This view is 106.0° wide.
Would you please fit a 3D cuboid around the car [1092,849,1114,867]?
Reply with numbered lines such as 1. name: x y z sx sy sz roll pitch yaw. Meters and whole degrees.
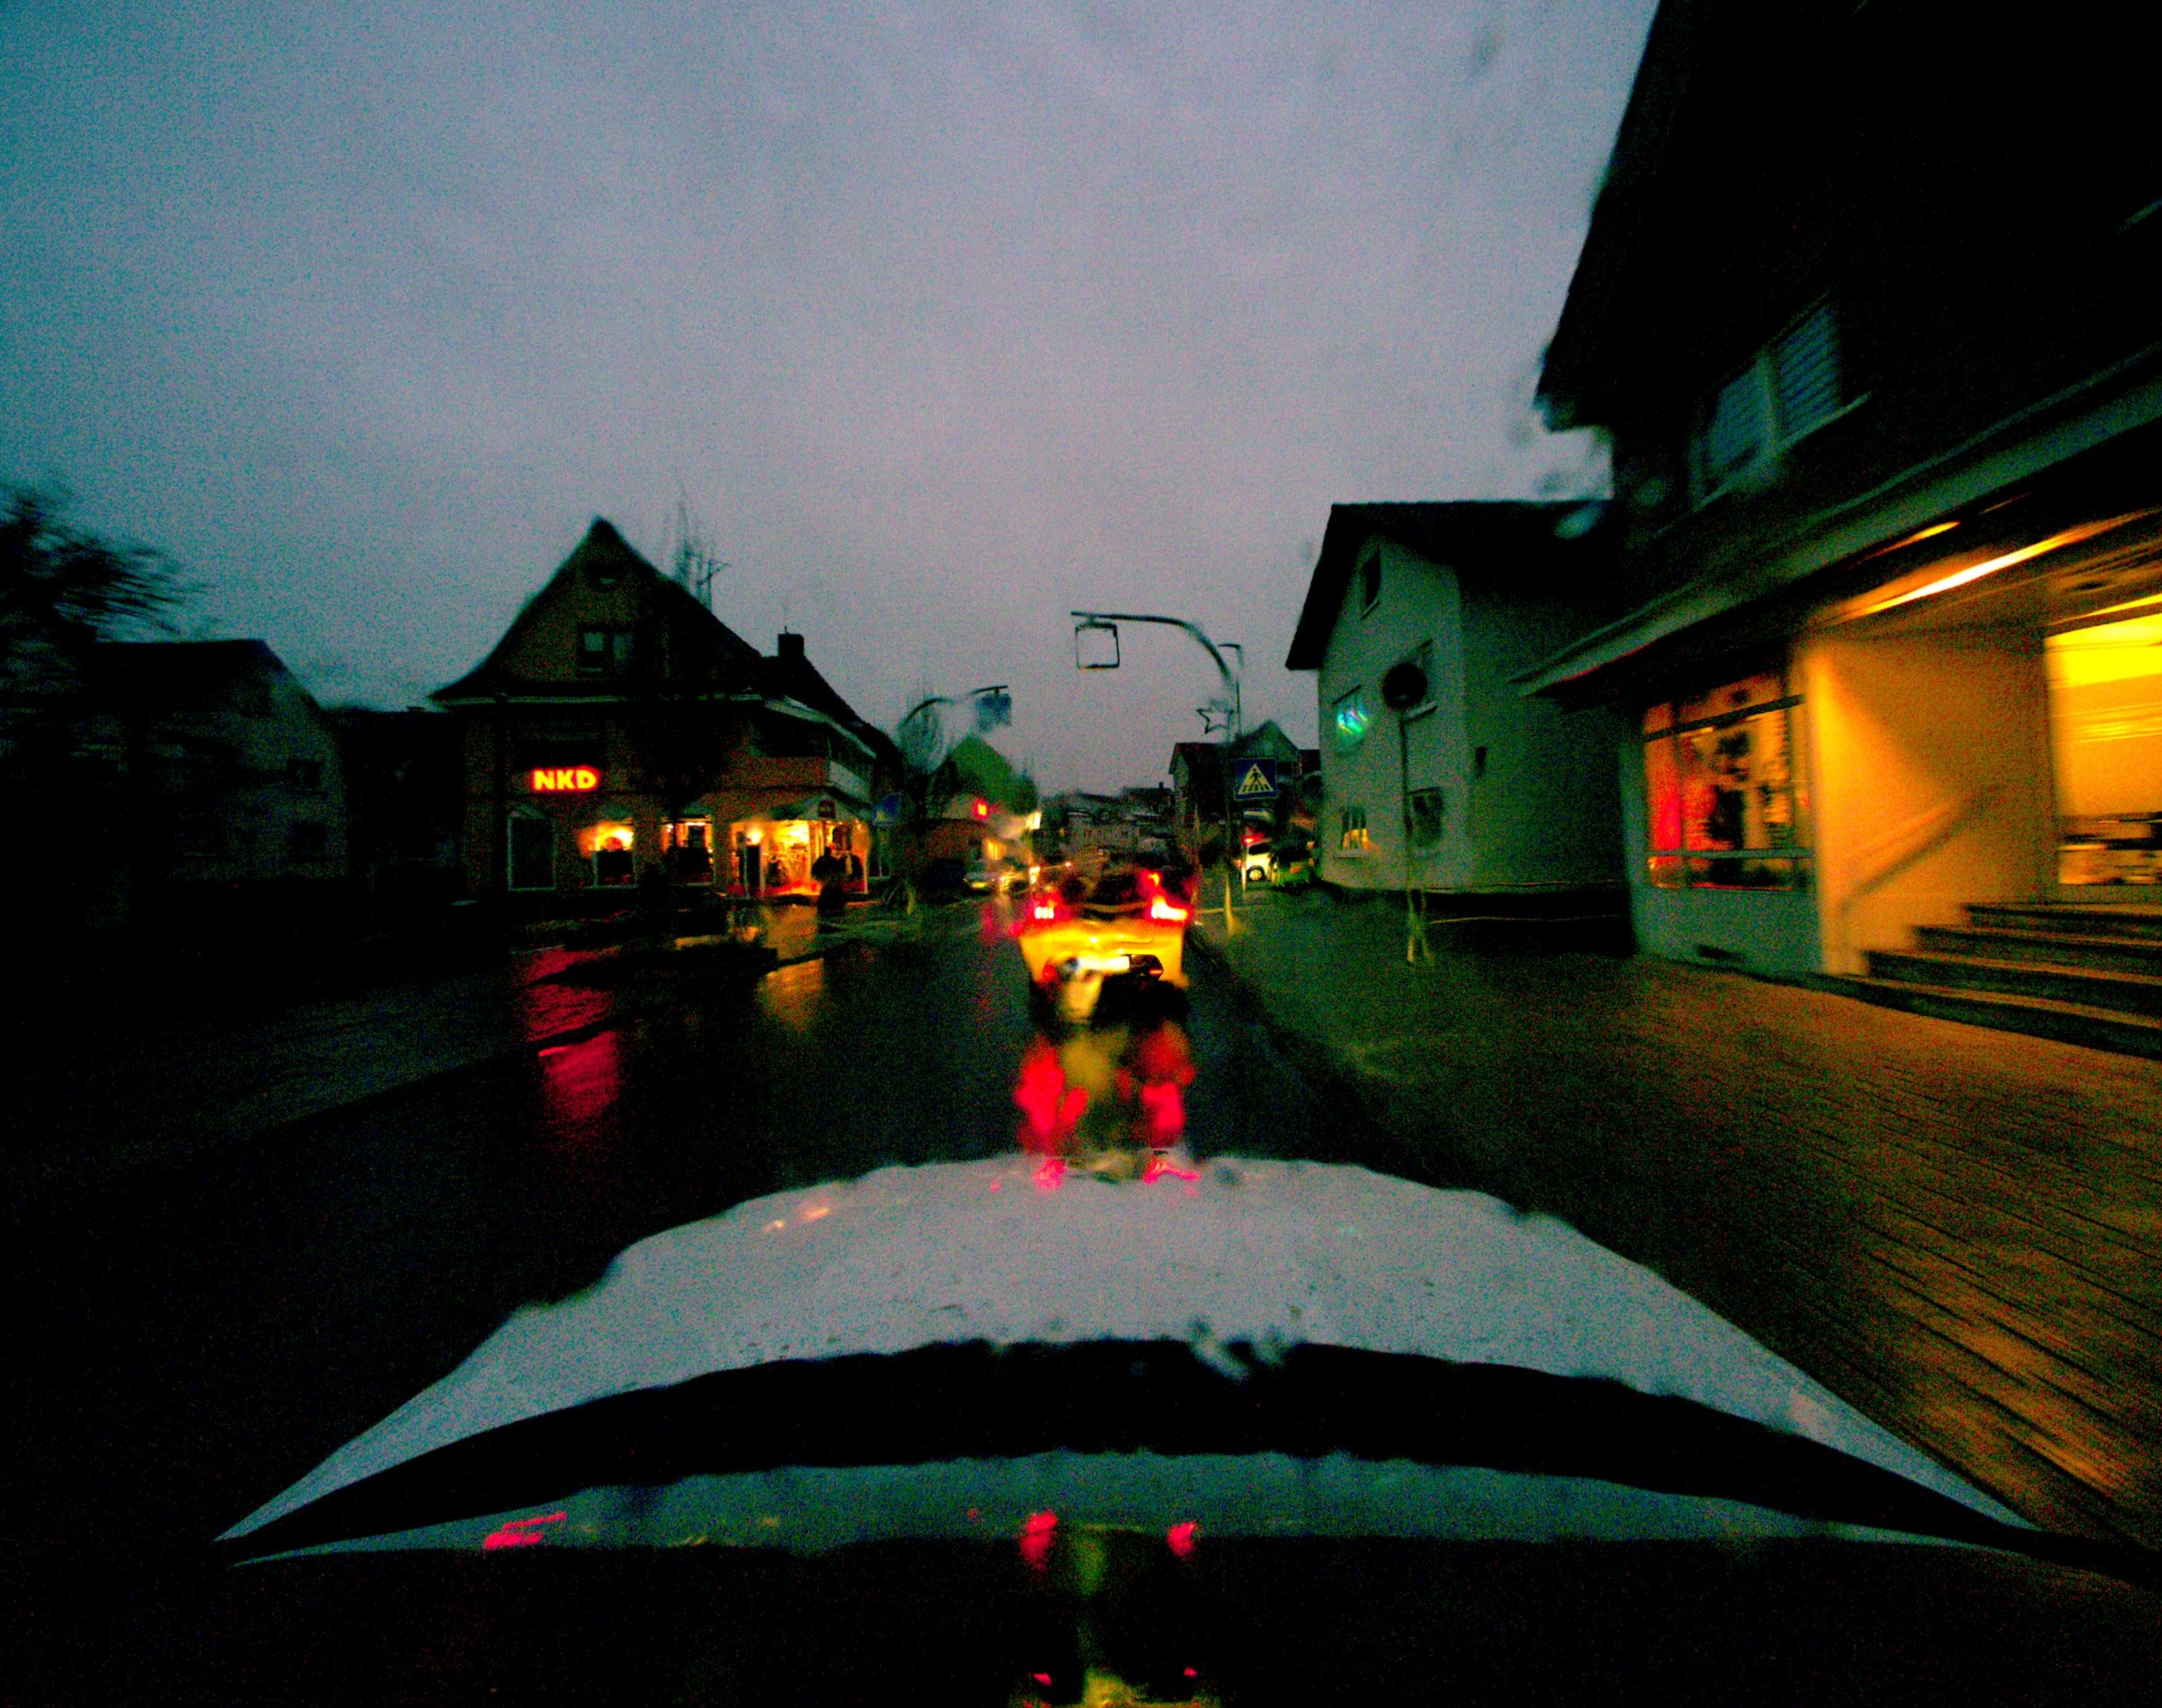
1. car: 2.036 0.366 78.078 1.945 1.547 4.415 1 2 -1

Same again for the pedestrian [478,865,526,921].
1. pedestrian: -13.475 0.893 18.958 0.815 1.245 0.691 0 0 35

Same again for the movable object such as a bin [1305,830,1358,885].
1. movable object such as a bin: 8.095 0.120 26.358 1.281 1.644 1.185 -4 0 1

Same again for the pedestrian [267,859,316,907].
1. pedestrian: -28.505 1.035 29.414 0.916 1.715 0.838 1 0 -9

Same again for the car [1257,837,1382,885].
1. car: 8.369 0.250 28.886 3.966 1.486 1.916 -3 -1 6

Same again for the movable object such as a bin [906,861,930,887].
1. movable object such as a bin: -8.710 1.057 43.463 1.149 1.354 0.850 -1 0 -7

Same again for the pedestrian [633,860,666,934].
1. pedestrian: -12.106 1.182 22.845 0.739 2.013 0.817 0 0 -35

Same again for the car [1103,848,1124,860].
1. car: 4.995 0.000 126.029 1.996 1.765 4.331 -4 1 -13

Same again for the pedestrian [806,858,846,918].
1. pedestrian: -7.156 0.938 22.926 0.824 1.658 1.096 0 0 -4

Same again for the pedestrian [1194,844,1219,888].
1. pedestrian: 5.465 0.498 35.594 0.963 1.889 1.006 -1 0 1

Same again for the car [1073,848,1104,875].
1. car: 0.567 0.483 56.214 1.986 1.705 4.970 1 1 2

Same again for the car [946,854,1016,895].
1. car: -4.109 0.807 34.168 1.984 1.558 4.626 -1 0 4

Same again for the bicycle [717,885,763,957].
1. bicycle: -5.993 1.143 14.355 0.324 1.061 1.737 -7 2 -12

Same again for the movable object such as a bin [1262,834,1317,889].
1. movable object such as a bin: 6.744 0.233 26.464 1.388 1.644 1.262 -4 0 1

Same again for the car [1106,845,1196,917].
1. car: 1.655 0.623 20.628 1.986 1.625 4.000 -1 0 1

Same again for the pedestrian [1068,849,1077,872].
1. pedestrian: -0.597 0.482 58.105 0.572 1.585 0.530 -2 1 3

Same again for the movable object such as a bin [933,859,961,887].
1. movable object such as a bin: -7.175 1.016 43.579 1.338 1.354 0.887 -5 -1 -6

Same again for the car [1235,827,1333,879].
1. car: 9.161 -0.056 36.923 4.063 2.049 2.007 -4 0 12

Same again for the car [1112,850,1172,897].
1. car: 2.186 0.680 30.356 1.987 1.588 4.000 -1 0 1

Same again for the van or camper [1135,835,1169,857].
1. van or camper: 10.978 -1.165 126.839 2.659 3.047 6.691 -5 1 -19

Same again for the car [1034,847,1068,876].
1. car: -1.936 0.465 54.570 2.079 1.792 5.023 -1 0 0

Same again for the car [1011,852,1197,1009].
1. car: 0.319 0.757 9.987 1.807 1.533 4.003 -1 0 3

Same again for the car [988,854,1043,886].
1. car: -3.257 0.765 41.425 1.984 1.522 4.983 -1 0 4
